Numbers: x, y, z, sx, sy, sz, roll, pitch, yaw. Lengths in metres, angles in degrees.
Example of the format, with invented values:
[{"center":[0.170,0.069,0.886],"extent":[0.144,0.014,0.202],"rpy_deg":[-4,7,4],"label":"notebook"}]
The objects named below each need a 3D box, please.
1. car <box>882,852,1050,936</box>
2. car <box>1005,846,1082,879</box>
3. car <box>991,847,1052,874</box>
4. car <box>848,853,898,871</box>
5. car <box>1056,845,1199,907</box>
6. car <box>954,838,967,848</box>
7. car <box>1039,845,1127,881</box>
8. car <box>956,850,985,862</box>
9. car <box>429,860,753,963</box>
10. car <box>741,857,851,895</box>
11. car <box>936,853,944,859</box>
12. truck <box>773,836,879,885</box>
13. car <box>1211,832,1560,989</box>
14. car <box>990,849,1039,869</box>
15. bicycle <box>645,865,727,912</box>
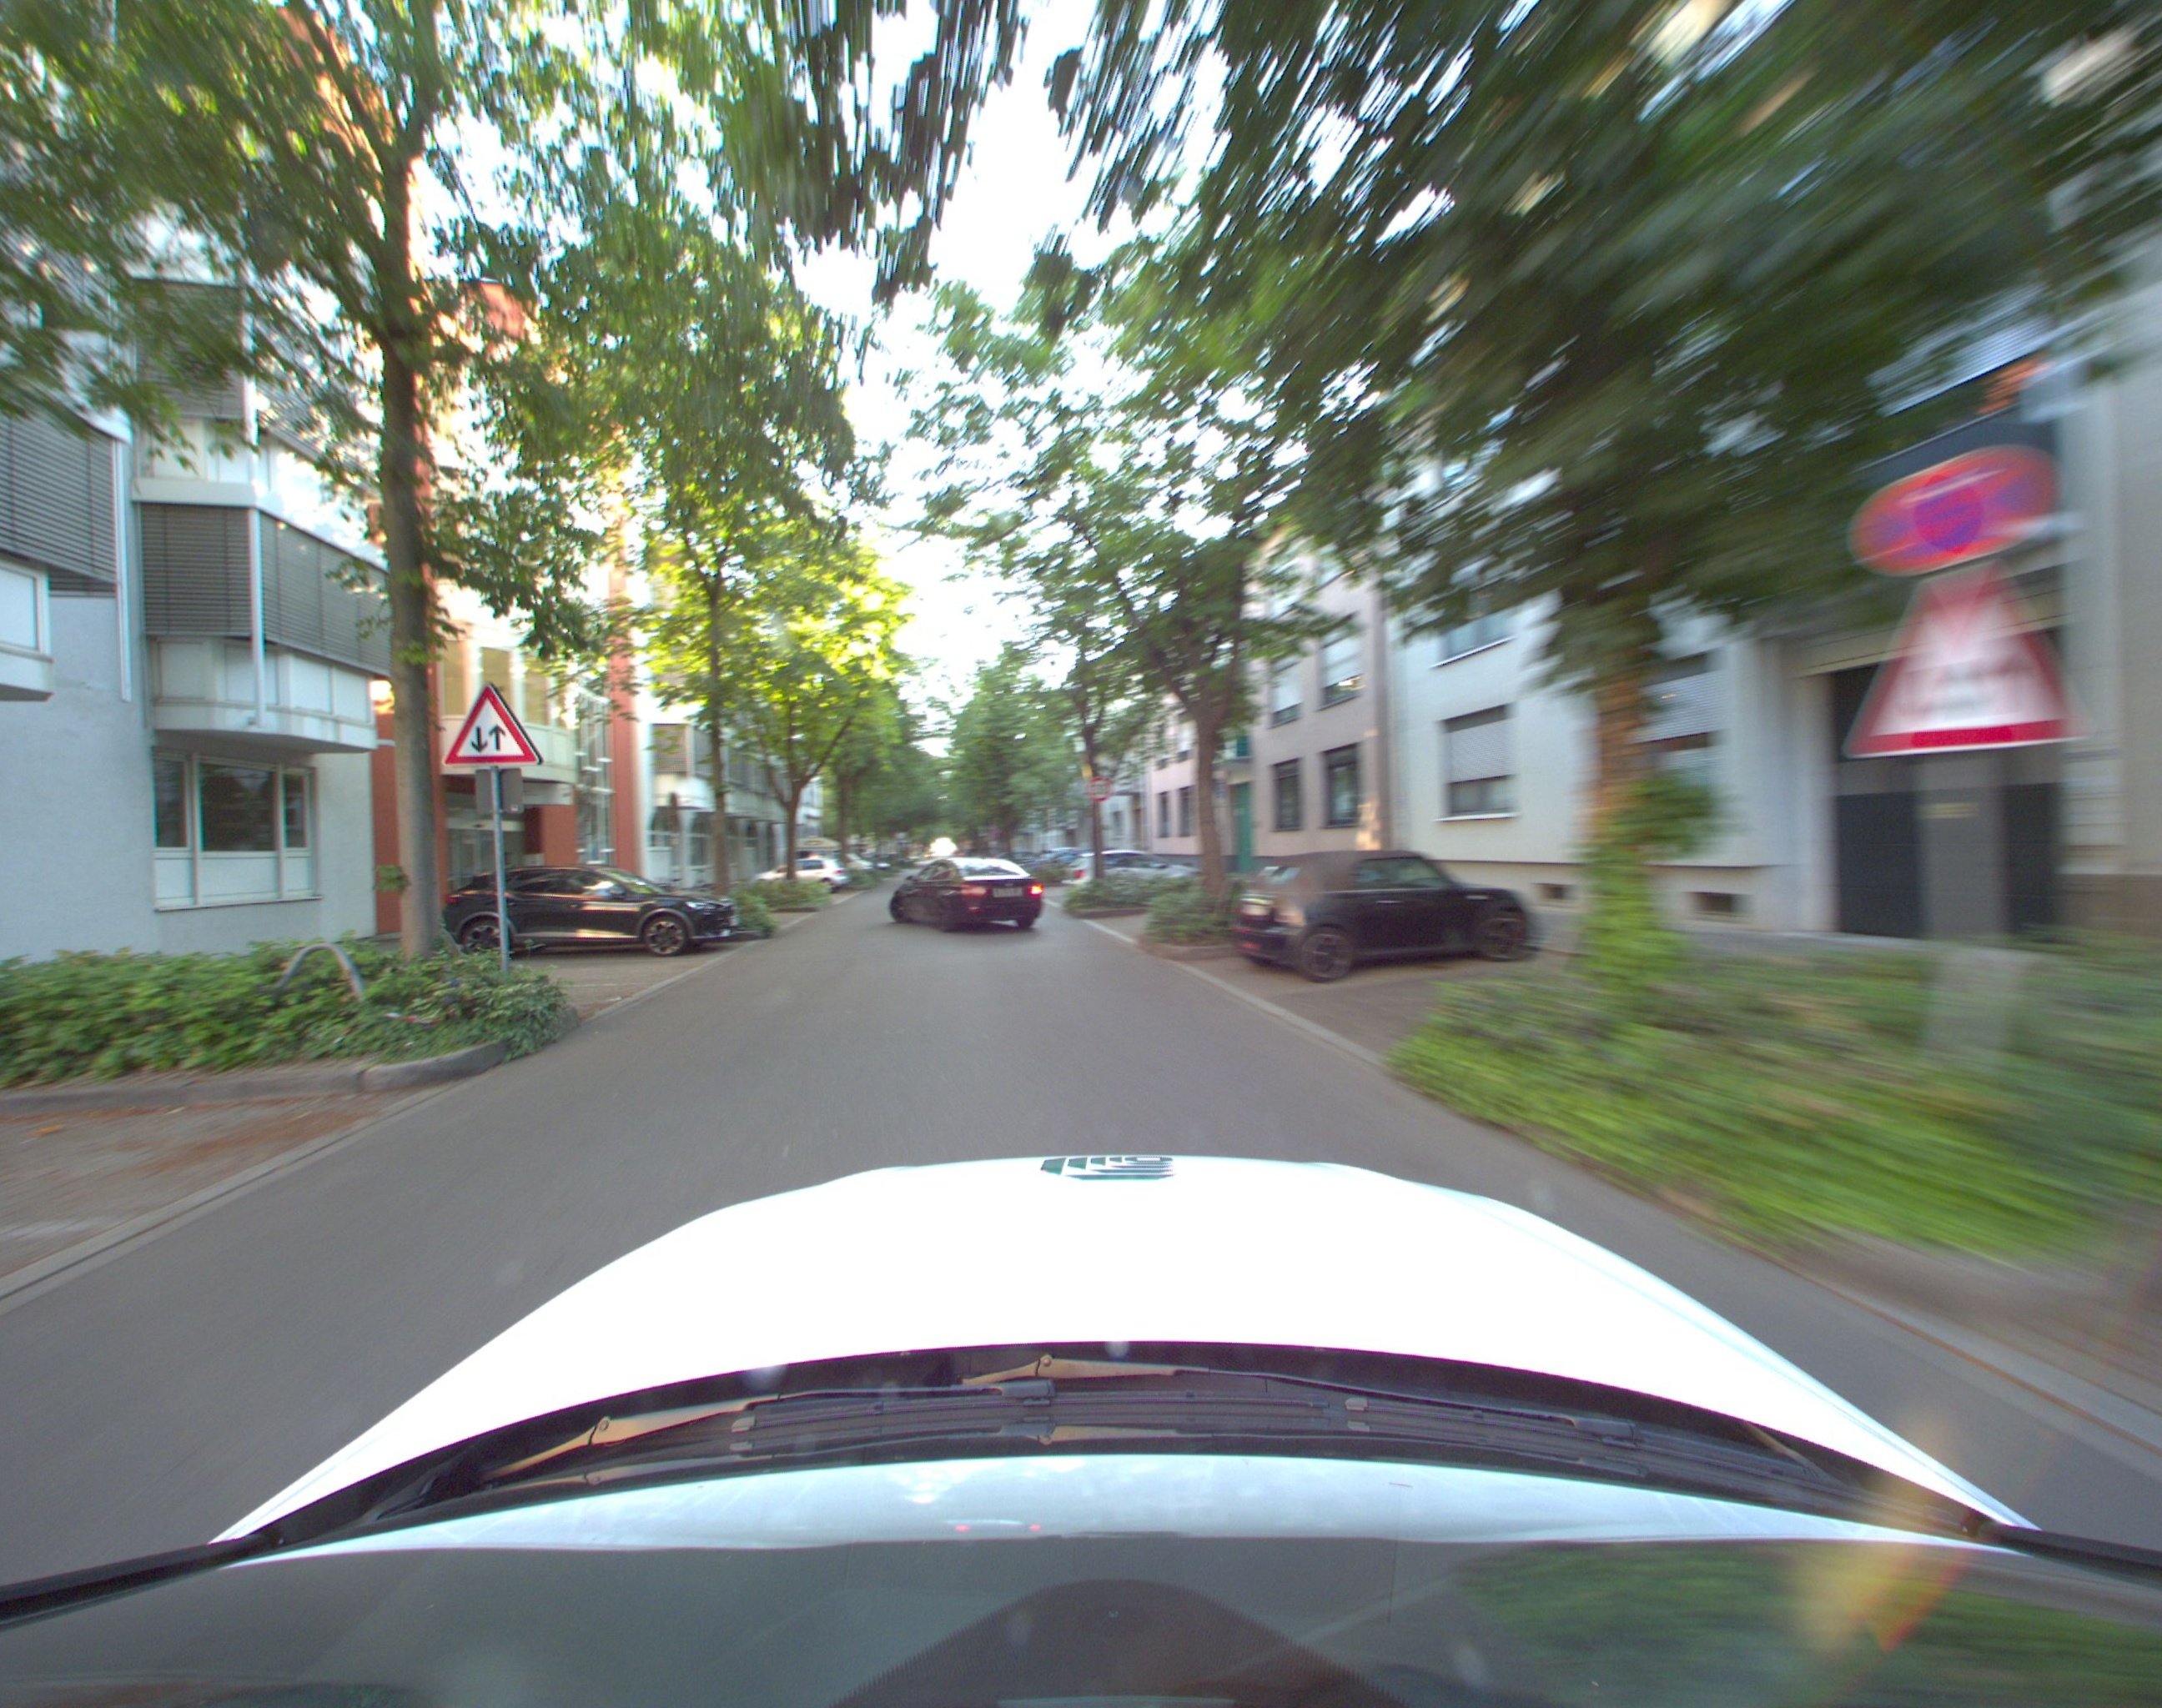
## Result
[{"center":[-2.563,0.729,17.040],"extent":[1.774,1.450,4.622],"rpy_deg":[-2,1,-31],"label":"car"},{"center":[-2.002,0.436,42.780],"extent":[3.795,1.529,1.559],"rpy_deg":[-3,1,-12],"label":"car"},{"center":[-3.756,0.379,51.387],"extent":[3.659,1.536,1.559],"rpy_deg":[-2,1,-12],"label":"car"},{"center":[-17.780,0.706,69.902],"extent":[4.022,1.471,1.634],"rpy_deg":[-1,0,-11],"label":"car"},{"center":[1.262,0.567,22.655],"extent":[3.660,1.479,1.559],"rpy_deg":[-3,1,-12],"label":"car"},{"center":[-20.176,-1.878,136.307],"extent":[1.994,1.552,3.986],"rpy_deg":[-2,0,-10],"label":"car"},{"center":[0.060,0.380,36.441],"extent":[3.660,1.393,1.559],"rpy_deg":[-3,1,-12],"label":"car"},{"center":[-14.397,0.279,106.223],"extent":[3.659,1.393,1.559],"rpy_deg":[-2,1,-12],"label":"car"},{"center":[-8.156,0.910,13.990],"extent":[4.357,1.509,1.828],"rpy_deg":[-1,0,-11],"label":"car"},{"center":[-11.959,0.903,34.436],"extent":[4.133,1.471,1.634],"rpy_deg":[-1,0,-11],"label":"car"},{"center":[-35.589,0.463,205.110],"extent":[1.894,1.475,3.988],"rpy_deg":[-2,0,-9],"label":"car"},{"center":[-13.291,0.306,42.720],"extent":[4.998,2.441,1.910],"rpy_deg":[-1,1,-9],"label":"truck"},{"center":[3.665,0.593,9.974],"extent":[3.710,1.427,1.619],"rpy_deg":[-4,1,-15],"label":"car"},{"center":[-5.233,0.389,64.023],"extent":[3.659,1.393,1.559],"rpy_deg":[-2,1,-12],"label":"car"},{"center":[-10.893,0.932,22.528],"extent":[1.977,1.199,0.498],"rpy_deg":[-2,0,-21],"label":"bicycle"}]
